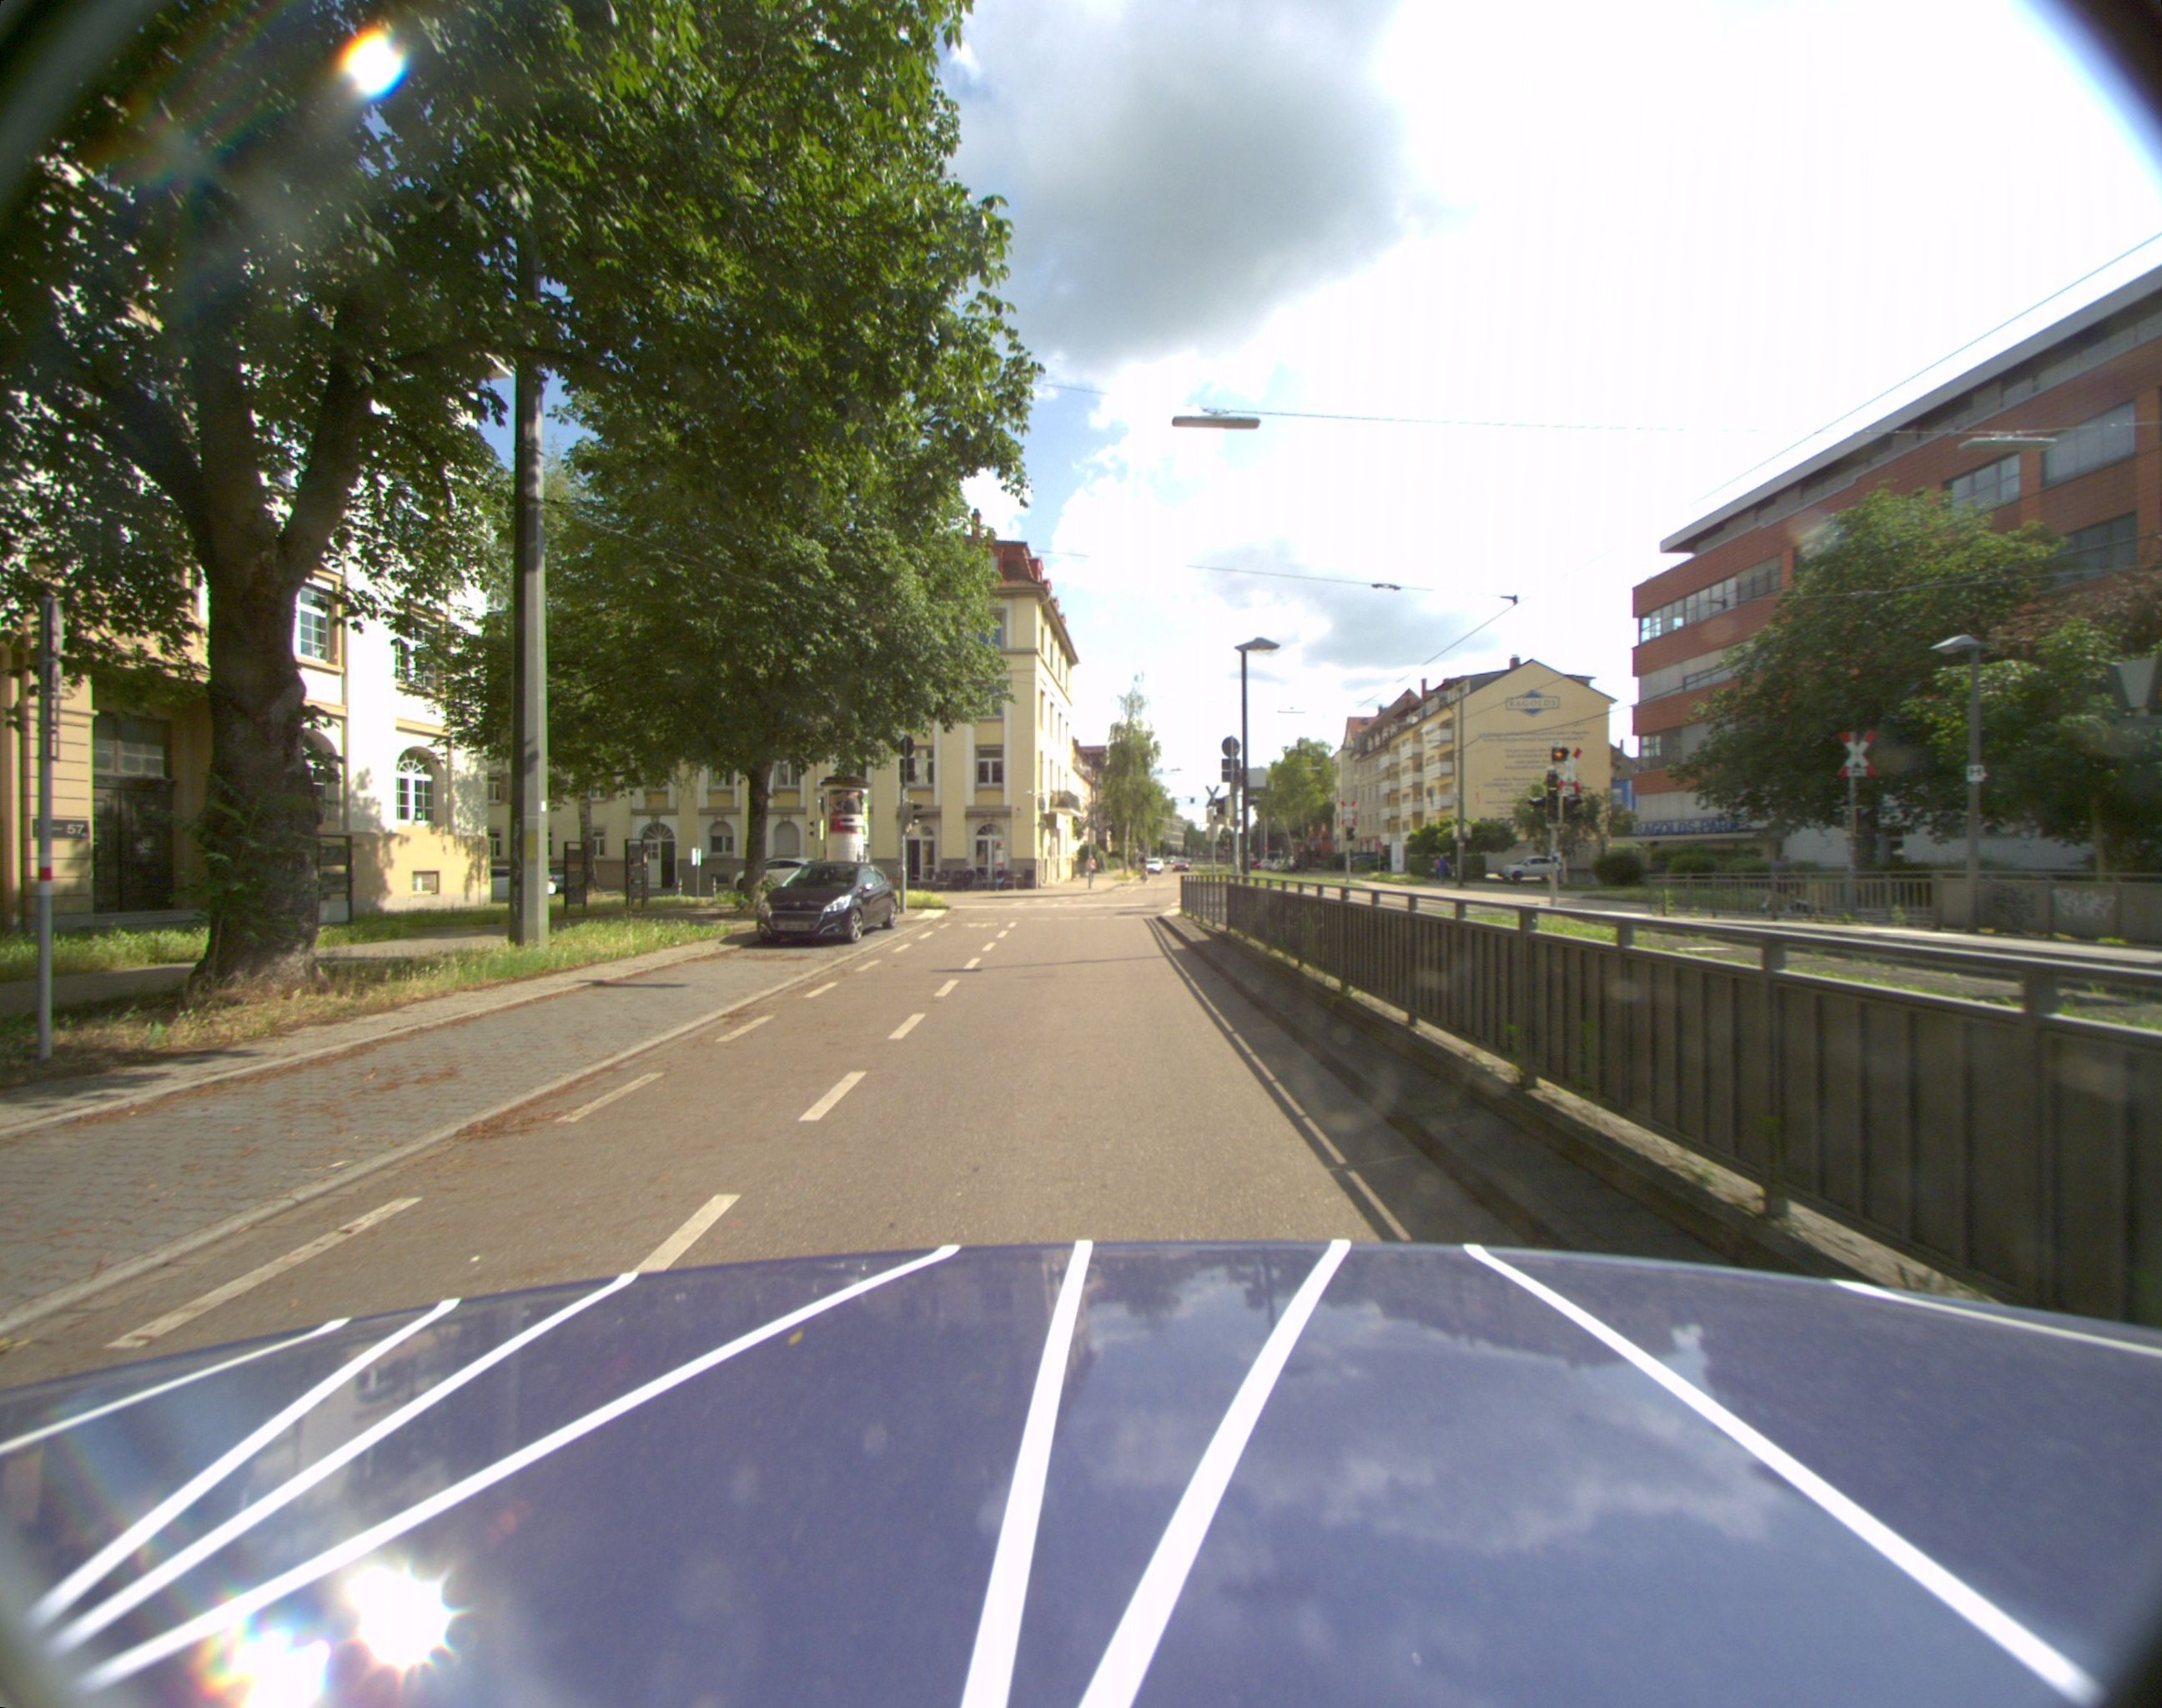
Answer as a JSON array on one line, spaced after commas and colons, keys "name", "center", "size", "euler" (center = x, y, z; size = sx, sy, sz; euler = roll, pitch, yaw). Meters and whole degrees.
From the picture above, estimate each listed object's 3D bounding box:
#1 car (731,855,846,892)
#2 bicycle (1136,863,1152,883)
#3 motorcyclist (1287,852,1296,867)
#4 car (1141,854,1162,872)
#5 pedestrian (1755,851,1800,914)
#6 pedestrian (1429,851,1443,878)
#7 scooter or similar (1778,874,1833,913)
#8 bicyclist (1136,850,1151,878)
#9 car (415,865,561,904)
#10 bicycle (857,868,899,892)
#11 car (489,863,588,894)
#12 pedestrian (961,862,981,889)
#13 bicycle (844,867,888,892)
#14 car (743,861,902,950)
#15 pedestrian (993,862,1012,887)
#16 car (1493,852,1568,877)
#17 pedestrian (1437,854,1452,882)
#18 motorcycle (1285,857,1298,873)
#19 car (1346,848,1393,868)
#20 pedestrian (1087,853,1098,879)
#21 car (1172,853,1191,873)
[{"name": "car", "center": [-14.000, 0.933, 36.471], "size": [4.828, 1.646, 1.858], "euler": [0, 2, 11]}, {"name": "bicycle", "center": [4.022, 1.201, 48.409], "size": [0.772, 1.097, 2.572], "euler": [-5, 0, 8]}, {"name": "motorcyclist", "center": [19.136, 0.514, 69.015], "size": [0.663, 1.350, 0.693], "euler": [-2, 1, 3]}, {"name": "car", "center": [6.721, 0.826, 72.696], "size": [1.848, 1.606, 3.814], "euler": [-2, 1, 3]}, {"name": "pedestrian", "center": [19.947, 0.804, 21.771], "size": [0.659, 1.782, 0.620], "euler": [1, 0, -5]}, {"name": "pedestrian", "center": [22.949, 0.682, 49.086], "size": [0.650, 1.700, 0.588], "euler": [0, 0, 2]}, {"name": "scooter or similar", "center": [20.780, 1.124, 21.796], "size": [0.988, 1.049, 0.620], "euler": [1, 0, -5]}, {"name": "bicyclist", "center": [4.000, 0.625, 48.535], "size": [0.772, 1.664, 0.951], "euler": [-5, 1, 7]}, {"name": "car", "center": [-23.318, 1.140, 30.013], "size": [1.852, 1.344, 4.188], "euler": [0, 0, 36]}, {"name": "bicycle", "center": [-9.571, 1.202, 35.763], "size": [1.941, 1.039, 0.617], "euler": [1, 2, 22]}, {"name": "car", "center": [-27.957, 1.235, 39.201], "size": [3.993, 1.417, 1.858], "euler": [0, 3, 12]}, {"name": "pedestrian", "center": [-5.489, 1.063, 37.935], "size": [0.804, 1.281, 0.759], "euler": [0, 2, 3]}, {"name": "bicycle", "center": [-10.266, 1.216, 36.373], "size": [1.944, 1.134, 0.616], "euler": [0, 2, -2]}, {"name": "car", "center": [-4.800, 0.879, 14.696], "size": [1.689, 1.379, 3.924], "euler": [1, 1, 1]}, {"name": "pedestrian", "center": [-3.956, 1.029, 38.375], "size": [0.804, 1.238, 0.892], "euler": [0, 2, 3]}, {"name": "car", "center": [27.910, 0.683, 47.264], "size": [3.608, 1.470, 1.777], "euler": [0, -3, 7]}, {"name": "pedestrian", "center": [21.718, 0.826, 45.435], "size": [0.650, 1.700, 0.481], "euler": [0, 1, 2]}, {"name": "motorcycle", "center": [19.137, 0.967, 69.052], "size": [0.634, 1.395, 2.010], "euler": [-2, 1, 3]}, {"name": "car", "center": [29.645, 0.450, 78.207], "size": [4.255, 2.002, 2.001], "euler": [0, 0, 10]}, {"name": "pedestrian", "center": [0.744, 0.751, 48.960], "size": [0.593, 1.622, 0.538], "euler": [3, 1, 3]}, {"name": "car", "center": [10.920, 0.930, 82.664], "size": [1.997, 2.002, 4.001], "euler": [-2, 1, 7]}]
